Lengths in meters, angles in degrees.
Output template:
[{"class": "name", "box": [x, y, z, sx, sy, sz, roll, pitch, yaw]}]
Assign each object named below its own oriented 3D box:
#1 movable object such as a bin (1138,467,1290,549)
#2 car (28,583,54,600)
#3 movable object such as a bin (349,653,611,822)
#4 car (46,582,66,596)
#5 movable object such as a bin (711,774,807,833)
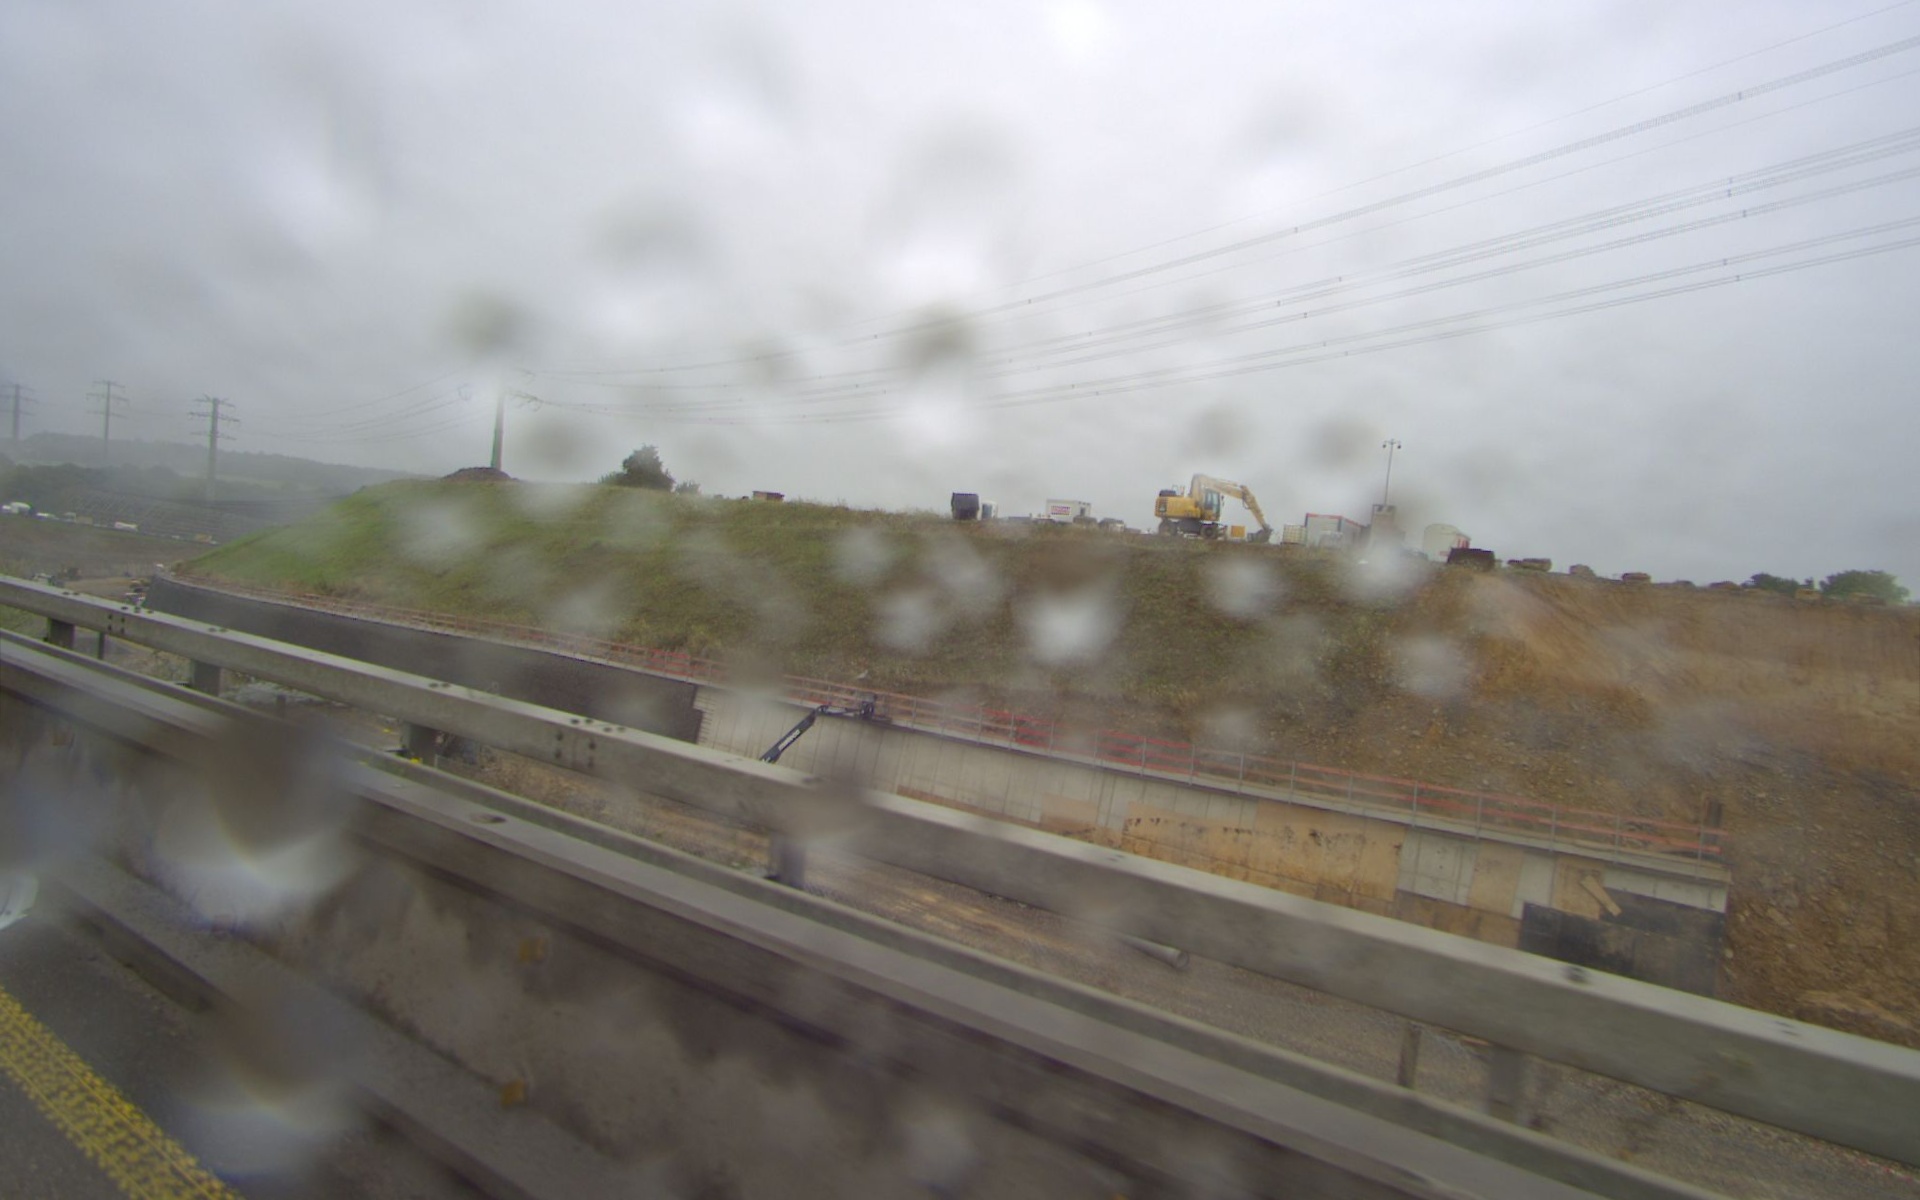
[{"class": "movable object such as a bin", "box": [15.368, -5.668, 61.303, 8.053, 4.259, 3.098, 7, 1, 37]}, {"class": "car", "box": [-138.938, -1.311, 152.066, 3.945, 2.037, 2.363, 6, -2, 42]}, {"class": "movable object such as a bin", "box": [-21.584, 5.861, 44.850, 11.908, 5.732, 4.899, 3, -4, 36]}, {"class": "car", "box": [-149.061, -1.881, 165.844, 3.948, 1.837, 1.989, 5, -1, 44]}, {"class": "movable object such as a bin", "box": [-9.061, 9.106, 45.355, 3.202, 1.932, 2.523, 6, -3, 30]}]
